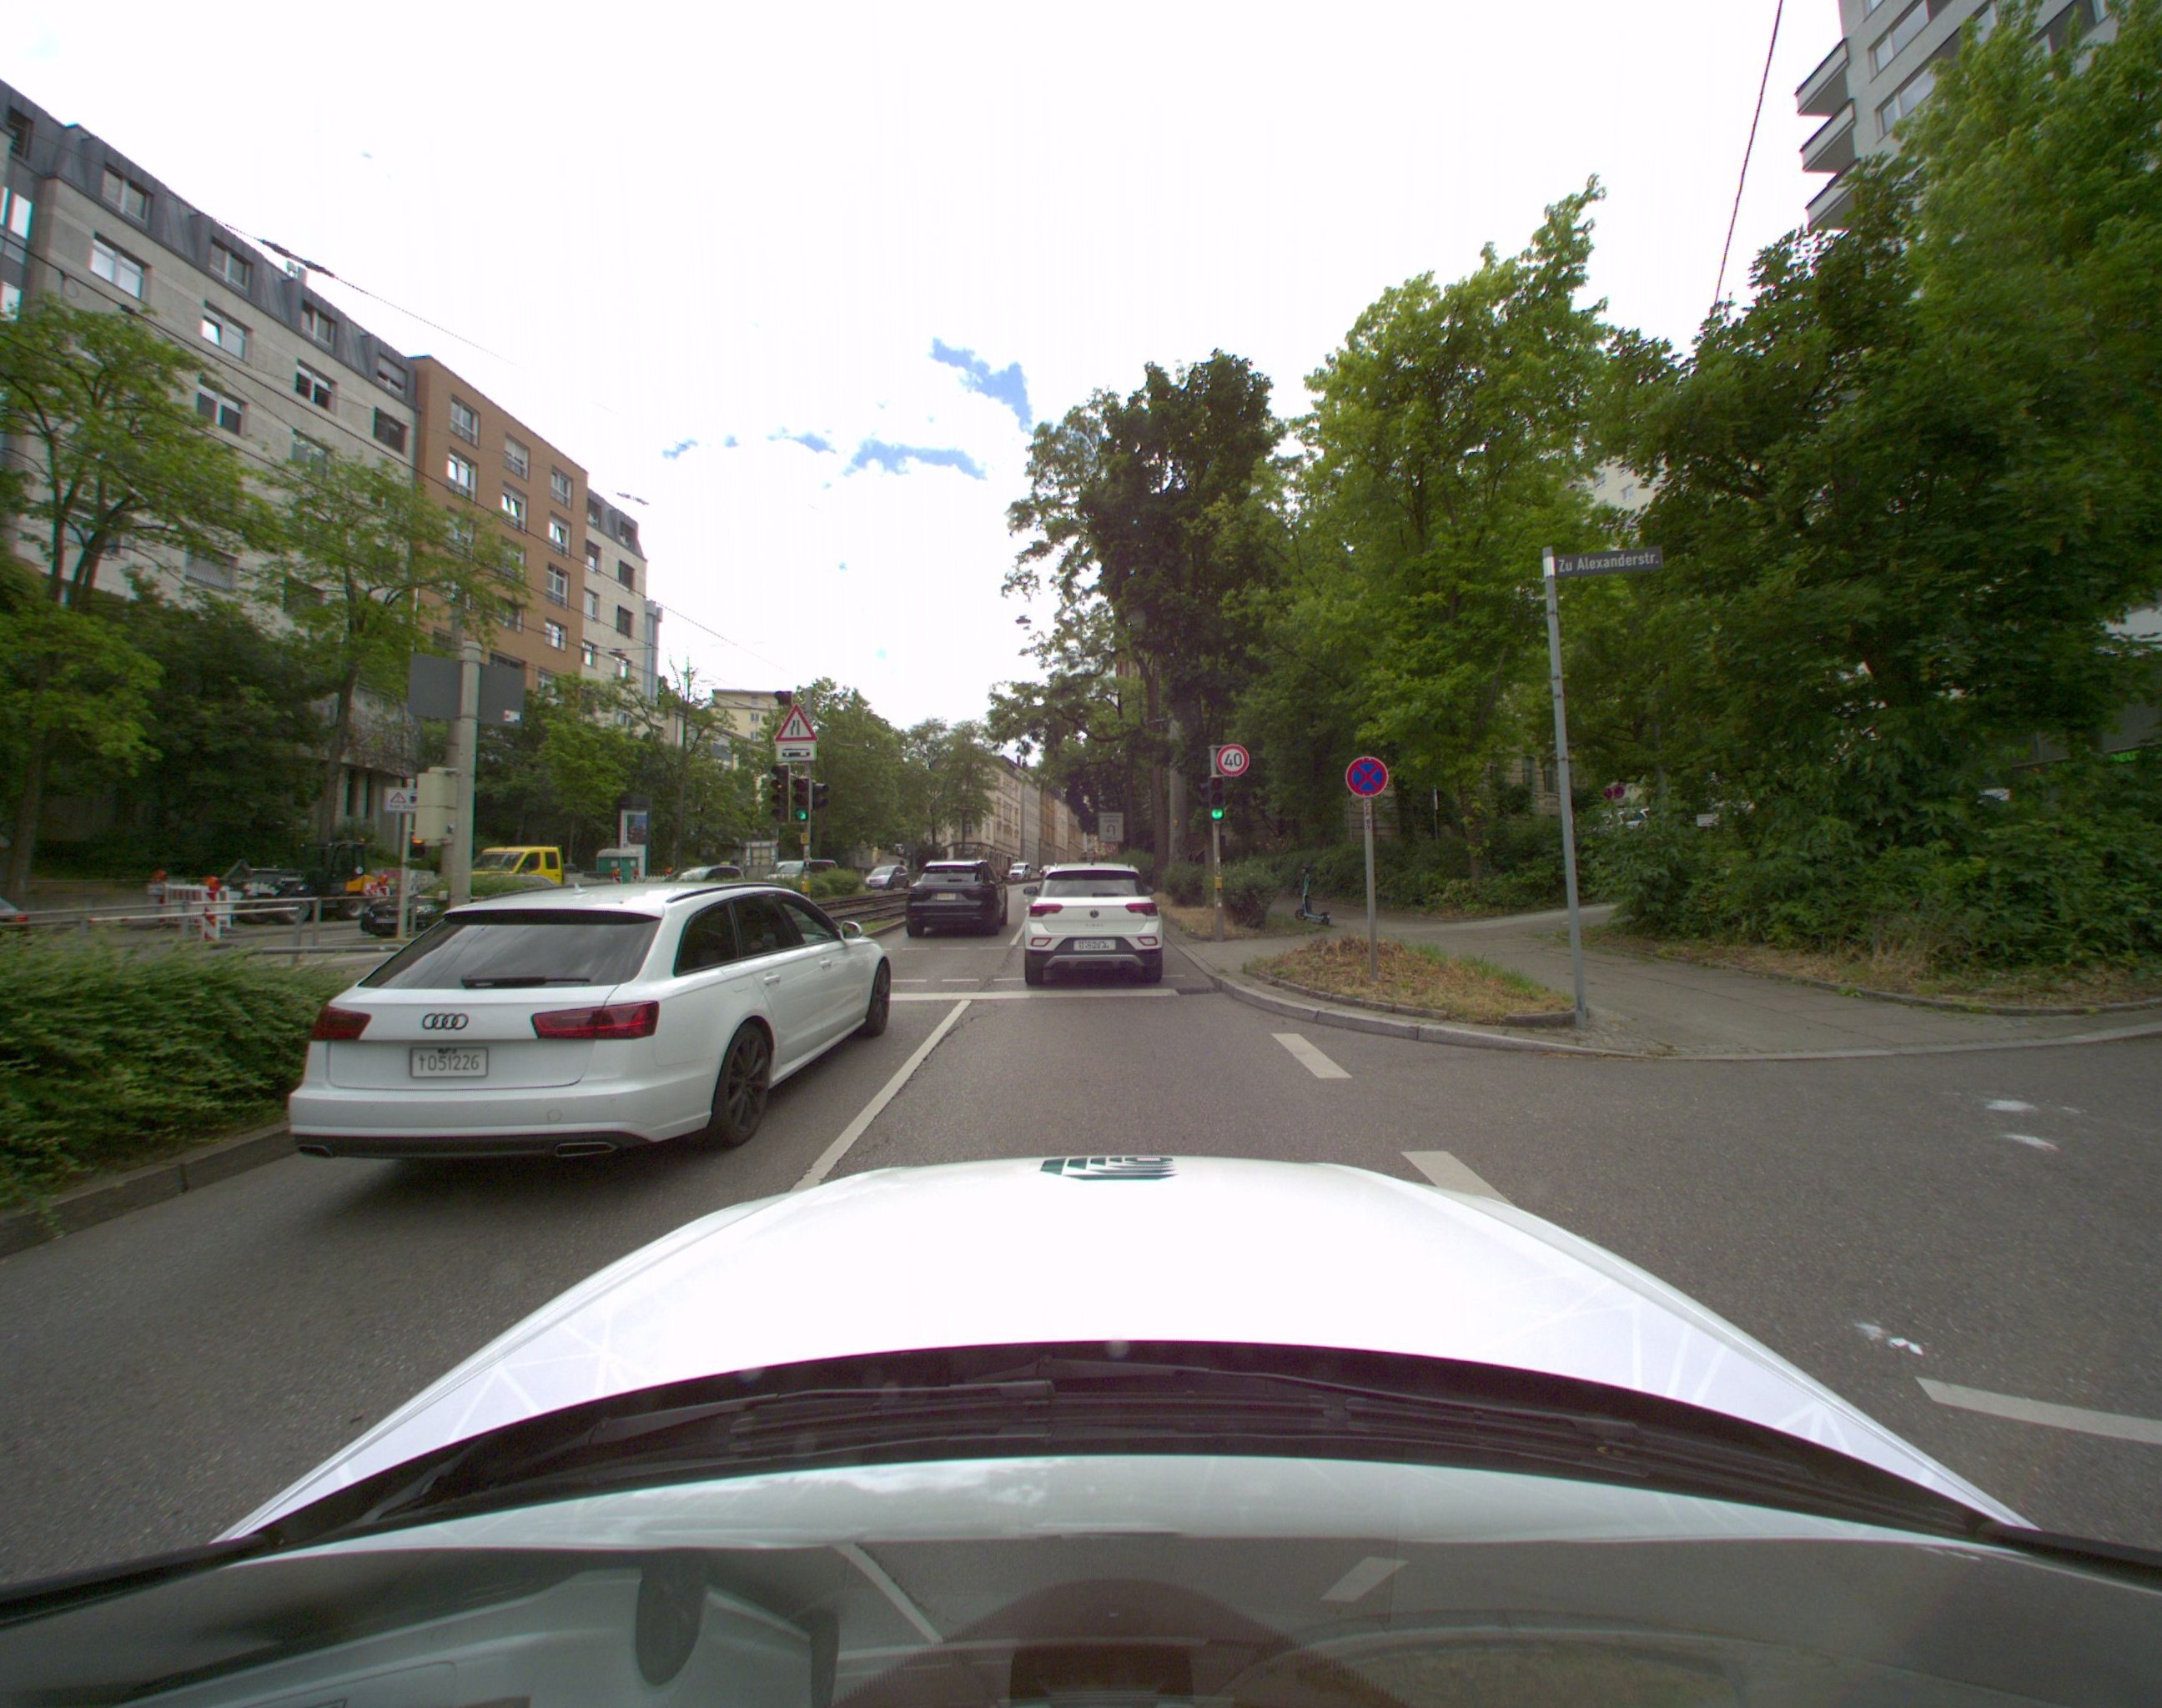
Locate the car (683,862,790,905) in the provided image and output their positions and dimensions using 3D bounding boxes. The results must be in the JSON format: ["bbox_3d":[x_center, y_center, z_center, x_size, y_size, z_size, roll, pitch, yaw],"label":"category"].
[{"bbox_3d":[-14.062,1.148,33.583,1.983,1.605,4.629,-2,-1,7],"label":"car"}]

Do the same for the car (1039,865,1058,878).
[{"bbox_3d":[-4.262,2.301,107.634,1.983,1.552,4.006,-2,-1,6],"label":"car"}]

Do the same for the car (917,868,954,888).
[{"bbox_3d":[-11.104,1.805,62.390,1.758,1.408,4.088,-2,-1,5],"label":"car"}]

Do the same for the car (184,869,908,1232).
[{"bbox_3d":[-2.741,0.864,5.708,1.871,1.455,4.619,-1,-1,2],"label":"car"}]

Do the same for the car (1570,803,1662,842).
[{"bbox_3d":[33.364,-1.956,50.800,5.224,1.933,2.161,-4,-3,-23],"label":"car"}]

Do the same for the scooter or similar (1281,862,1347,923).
[{"bbox_3d":[4.892,0.787,17.202,0.631,1.210,1.550,-1,-1,-13],"label":"scooter or similar"}]

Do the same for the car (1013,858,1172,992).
[{"bbox_3d":[0.076,0.873,11.720,1.874,1.555,3.996,-1,-1,-2],"label":"car"}]

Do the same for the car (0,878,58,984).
[{"bbox_3d":[-15.956,1.092,9.964,1.772,1.462,4.000,-2,-1,1],"label":"car"}]

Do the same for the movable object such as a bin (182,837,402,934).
[{"bbox_3d":[-21.806,0.802,22.784,1.923,2.468,4.104,0,0,6],"label":"movable object such as a bin"}]

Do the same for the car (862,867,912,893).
[{"bbox_3d":[-11.820,1.558,49.901,1.649,1.443,3.748,-2,-1,8],"label":"car"}]

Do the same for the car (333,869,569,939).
[{"bbox_3d":[-15.602,1.159,20.602,1.873,1.435,4.850,-3,-1,4],"label":"car"}]

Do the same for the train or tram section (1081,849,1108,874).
[{"bbox_3d":[2.296,1.208,131.756,2.867,3.726,14.883,0,-1,7],"label":"train or tram section"}]

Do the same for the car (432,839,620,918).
[{"bbox_3d":[-20.368,0.860,30.408,2.146,2.594,6.346,-2,-1,6],"label":"car"}]

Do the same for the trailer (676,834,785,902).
[{"bbox_3d":[-16.592,0.654,38.929,2.007,2.973,5.604,0,-1,10],"label":"trailer"}]

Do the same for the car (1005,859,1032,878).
[{"bbox_3d":[-6.926,1.574,90.276,1.937,1.946,5.013,-1,0,7],"label":"car"}]

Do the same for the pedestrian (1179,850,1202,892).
[{"bbox_3d":[4.511,0.693,33.615,0.770,1.703,0.784,-1,-1,-5],"label":"pedestrian"}]

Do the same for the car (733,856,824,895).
[{"bbox_3d":[-13.822,0.951,37.533,1.983,1.605,4.619,-2,-1,7],"label":"car"}]

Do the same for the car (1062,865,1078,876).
[{"bbox_3d":[-1.648,2.518,124.478,1.983,1.552,4.006,-2,-1,6],"label":"car"}]

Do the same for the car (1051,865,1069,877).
[{"bbox_3d":[-2.903,2.356,115.481,1.983,1.552,4.006,-2,-1,6],"label":"car"}]

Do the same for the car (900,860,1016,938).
[{"bbox_3d":[-2.720,0.970,19.069,2.031,1.571,4.357,-1,-1,0],"label":"car"}]
